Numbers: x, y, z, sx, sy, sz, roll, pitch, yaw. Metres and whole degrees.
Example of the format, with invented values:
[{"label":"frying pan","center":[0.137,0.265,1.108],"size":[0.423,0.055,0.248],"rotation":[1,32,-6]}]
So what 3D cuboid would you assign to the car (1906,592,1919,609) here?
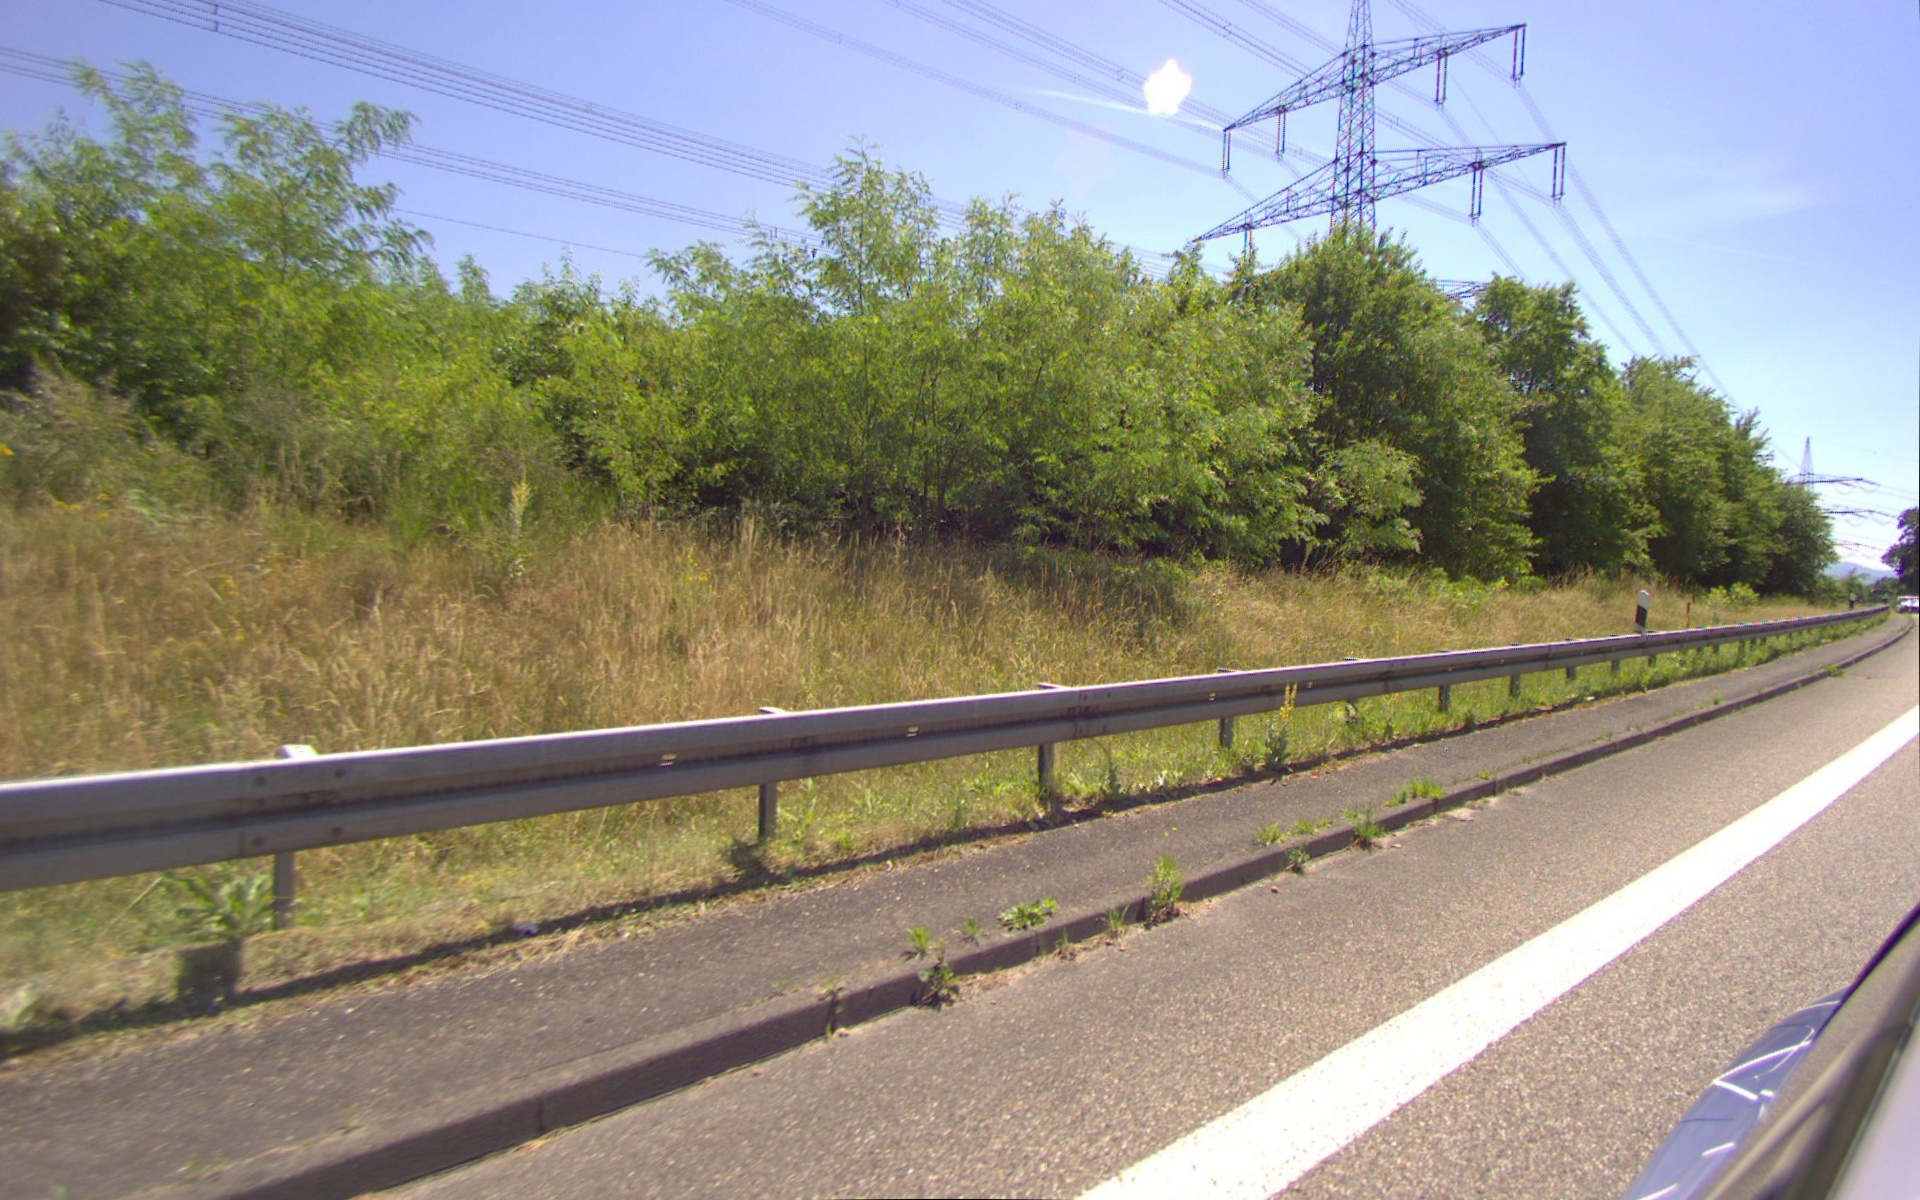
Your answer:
[{"label":"car","center":[97.370,0.081,102.317],"size":[1.988,1.705,3.947],"rotation":[1,0,36]}]
